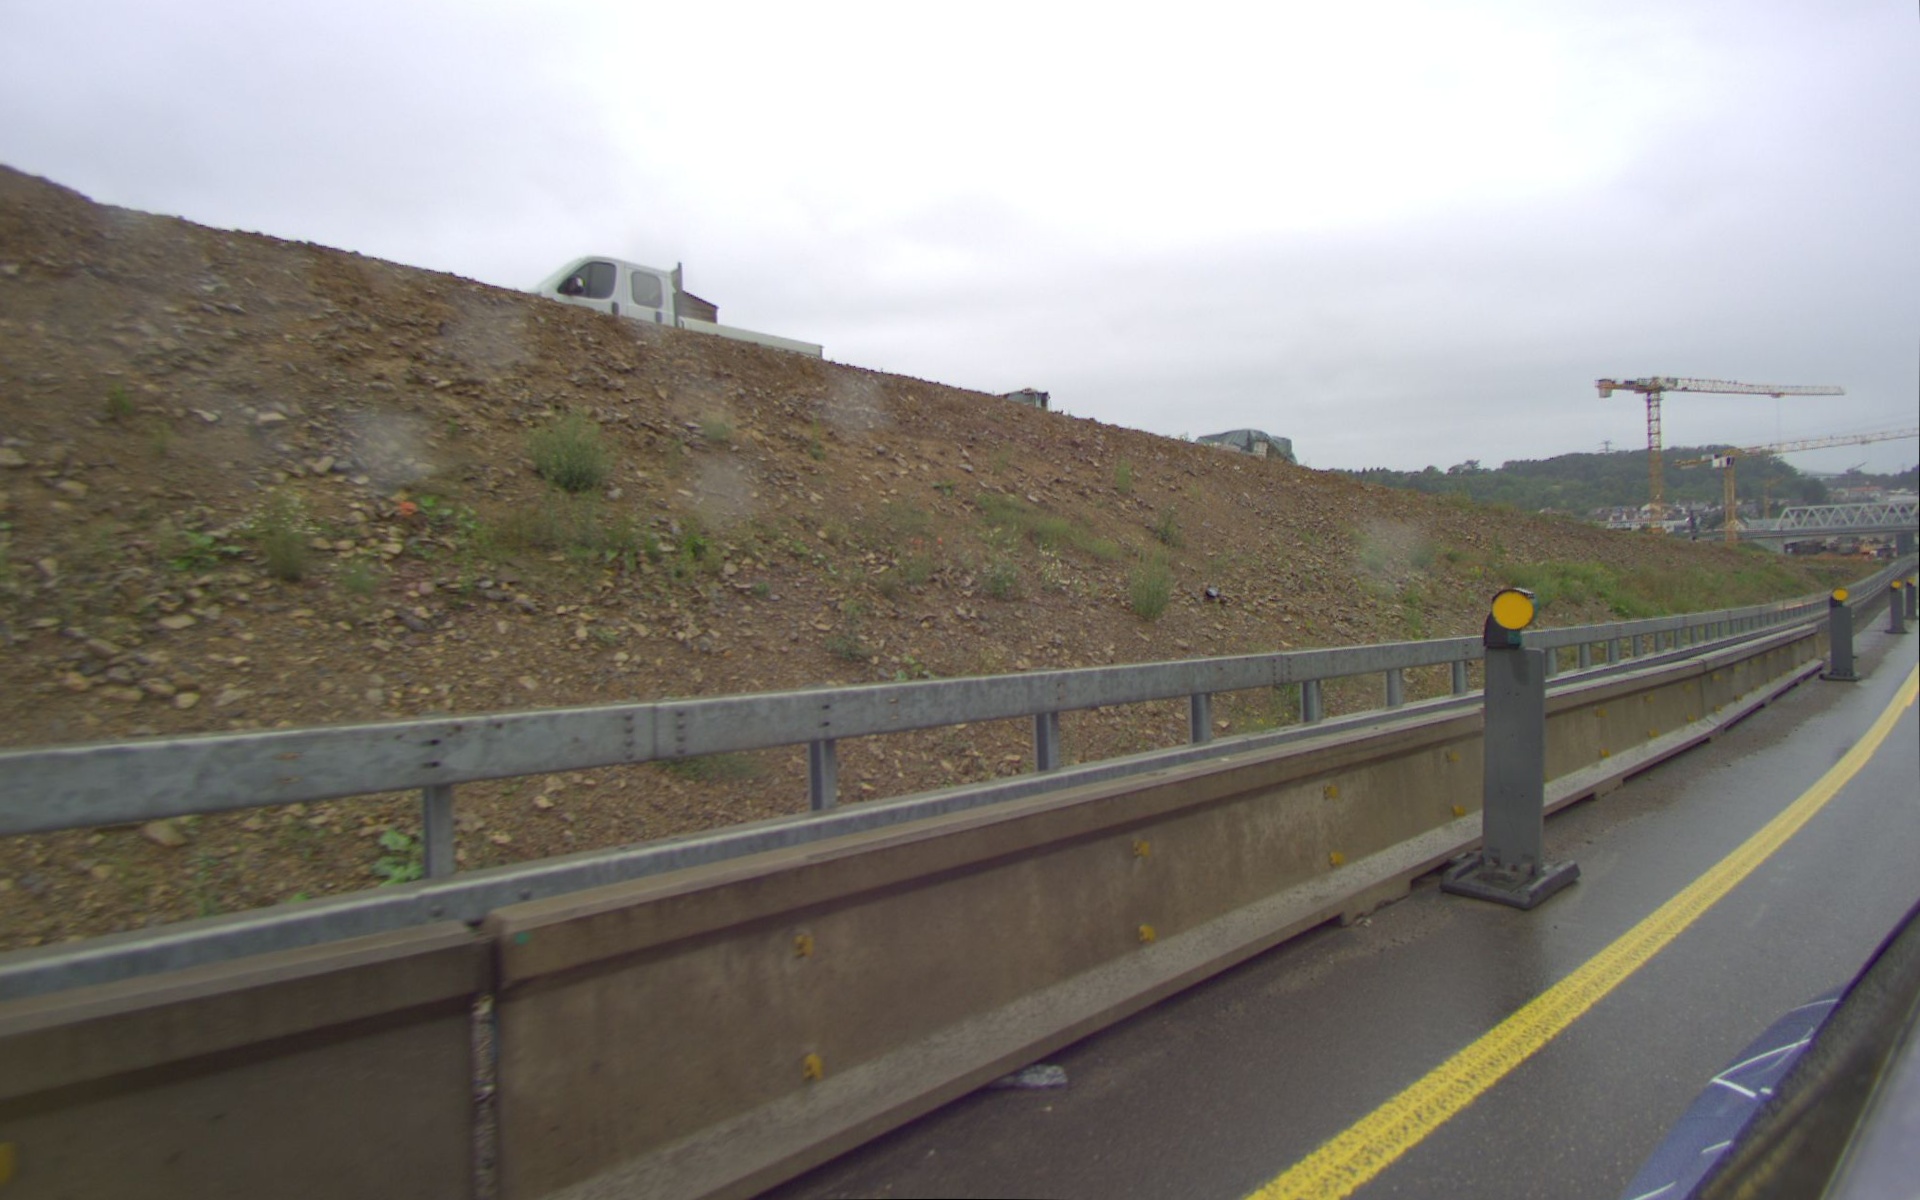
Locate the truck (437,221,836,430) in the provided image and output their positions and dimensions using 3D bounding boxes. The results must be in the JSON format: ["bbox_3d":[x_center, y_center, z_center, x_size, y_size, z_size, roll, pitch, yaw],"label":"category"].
[{"bbox_3d":[-5.976,-4.970,19.619,2.647,2.585,6.874,1,3,45],"label":"truck"}]

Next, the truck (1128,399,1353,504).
[{"bbox_3d":[9.960,-4.944,35.251,8.810,2.910,3.400,-4,3,-42],"label":"truck"}]

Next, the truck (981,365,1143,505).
[{"bbox_3d":[3.673,-5.561,35.375,5.885,4.269,2.374,-4,3,-45],"label":"truck"}]
